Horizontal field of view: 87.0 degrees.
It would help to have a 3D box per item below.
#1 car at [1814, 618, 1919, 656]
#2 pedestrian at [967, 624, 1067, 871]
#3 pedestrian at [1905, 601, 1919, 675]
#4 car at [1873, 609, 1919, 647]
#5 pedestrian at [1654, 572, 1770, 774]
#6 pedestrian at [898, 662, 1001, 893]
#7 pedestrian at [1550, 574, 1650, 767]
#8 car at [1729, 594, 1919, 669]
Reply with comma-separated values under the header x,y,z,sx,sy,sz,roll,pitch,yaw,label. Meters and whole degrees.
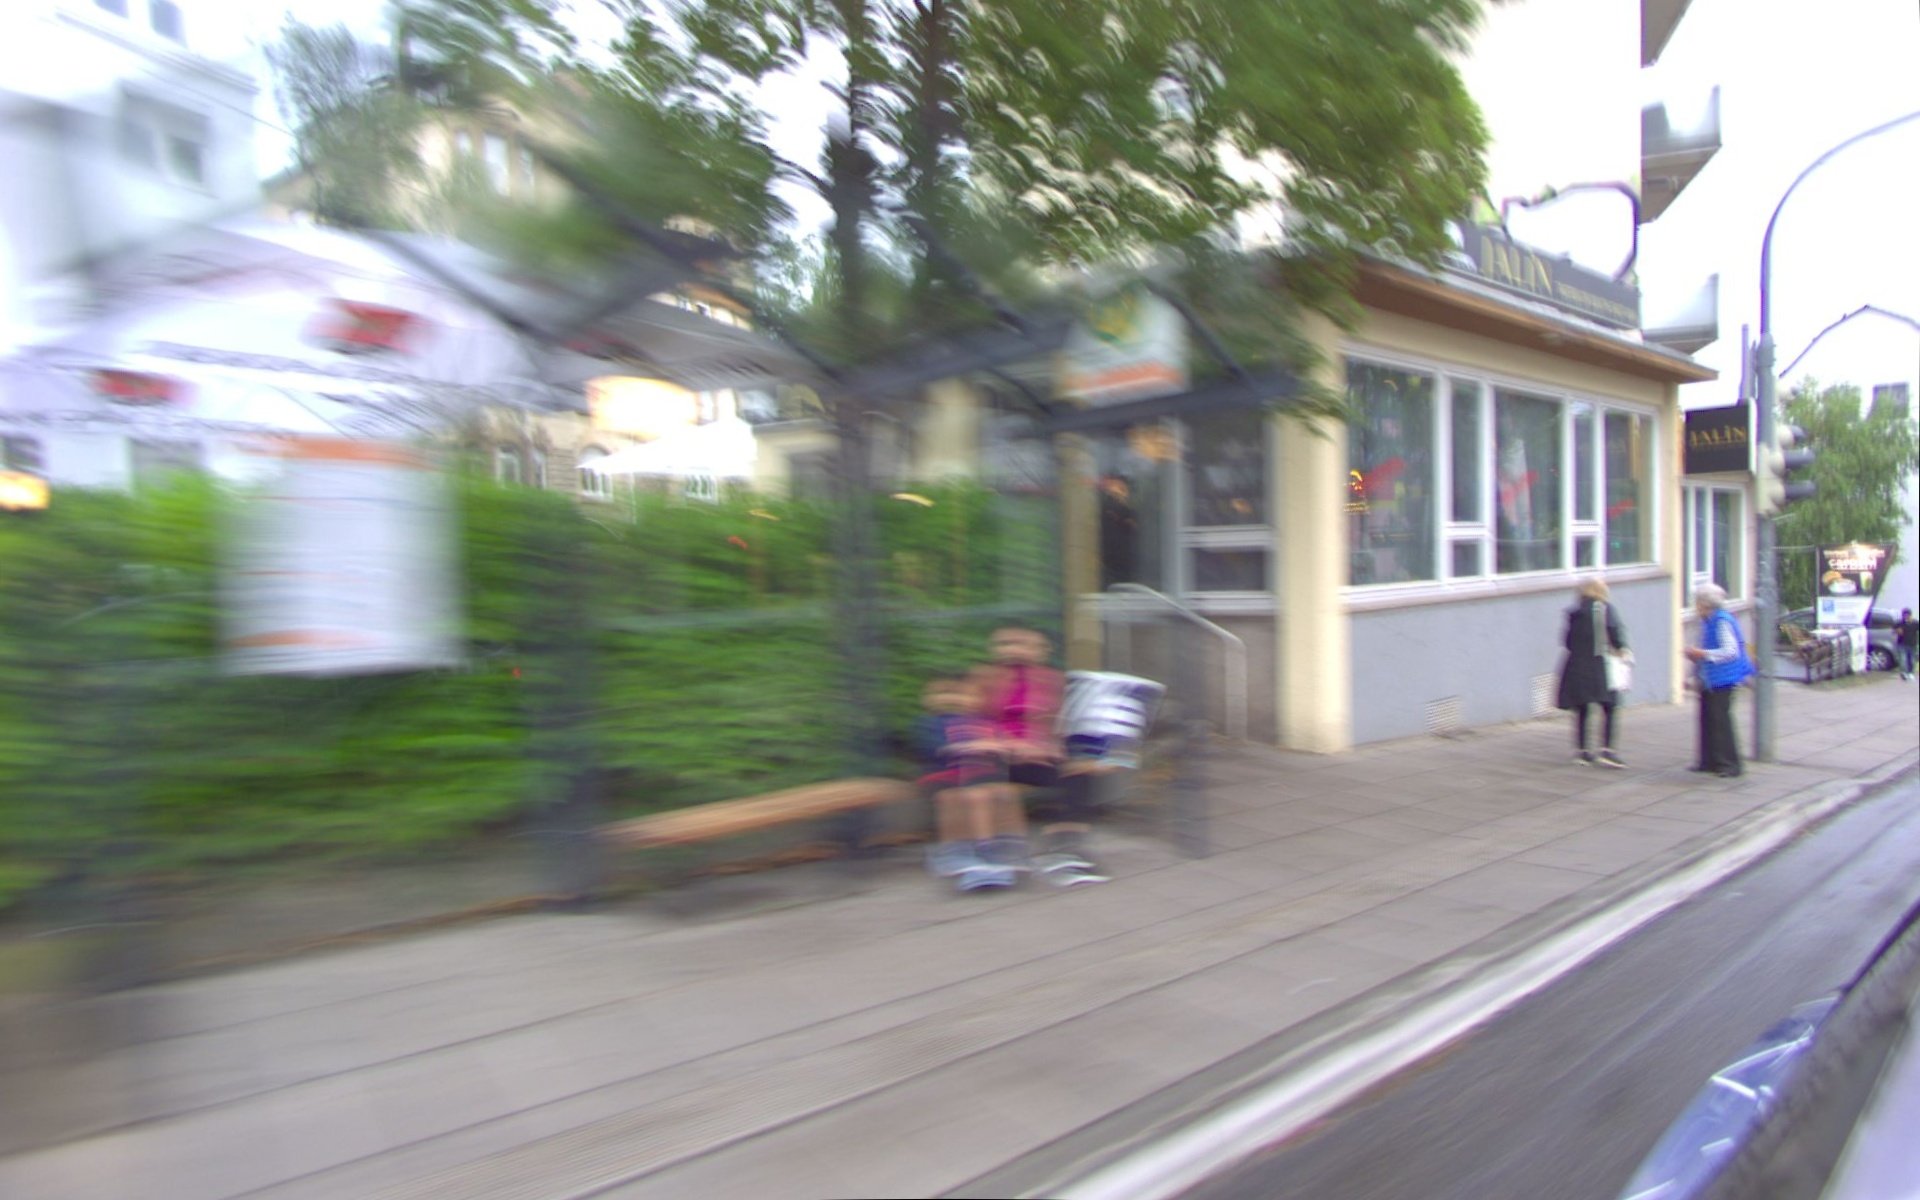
x,y,z,sx,sy,sz,roll,pitch,yaw,label
38.115,1.467,41.114,1.939,1.455,4.942,-1,-1,-38,car
0.288,0.717,5.102,0.312,1.164,0.325,1,2,-43,pedestrian
22.668,0.890,23.787,0.604,1.736,0.579,1,-2,-43,pedestrian
43.140,1.251,44.780,1.789,1.483,3.990,-7,6,-43,car
6.238,0.573,8.395,0.638,1.573,0.589,1,1,-40,pedestrian
-0.050,0.822,4.818,0.312,1.007,0.325,1,2,-43,pedestrian
5.526,0.580,8.740,0.549,1.573,0.546,1,1,-42,pedestrian
24.427,0.838,28.235,1.747,1.694,4.342,2,2,-38,car
